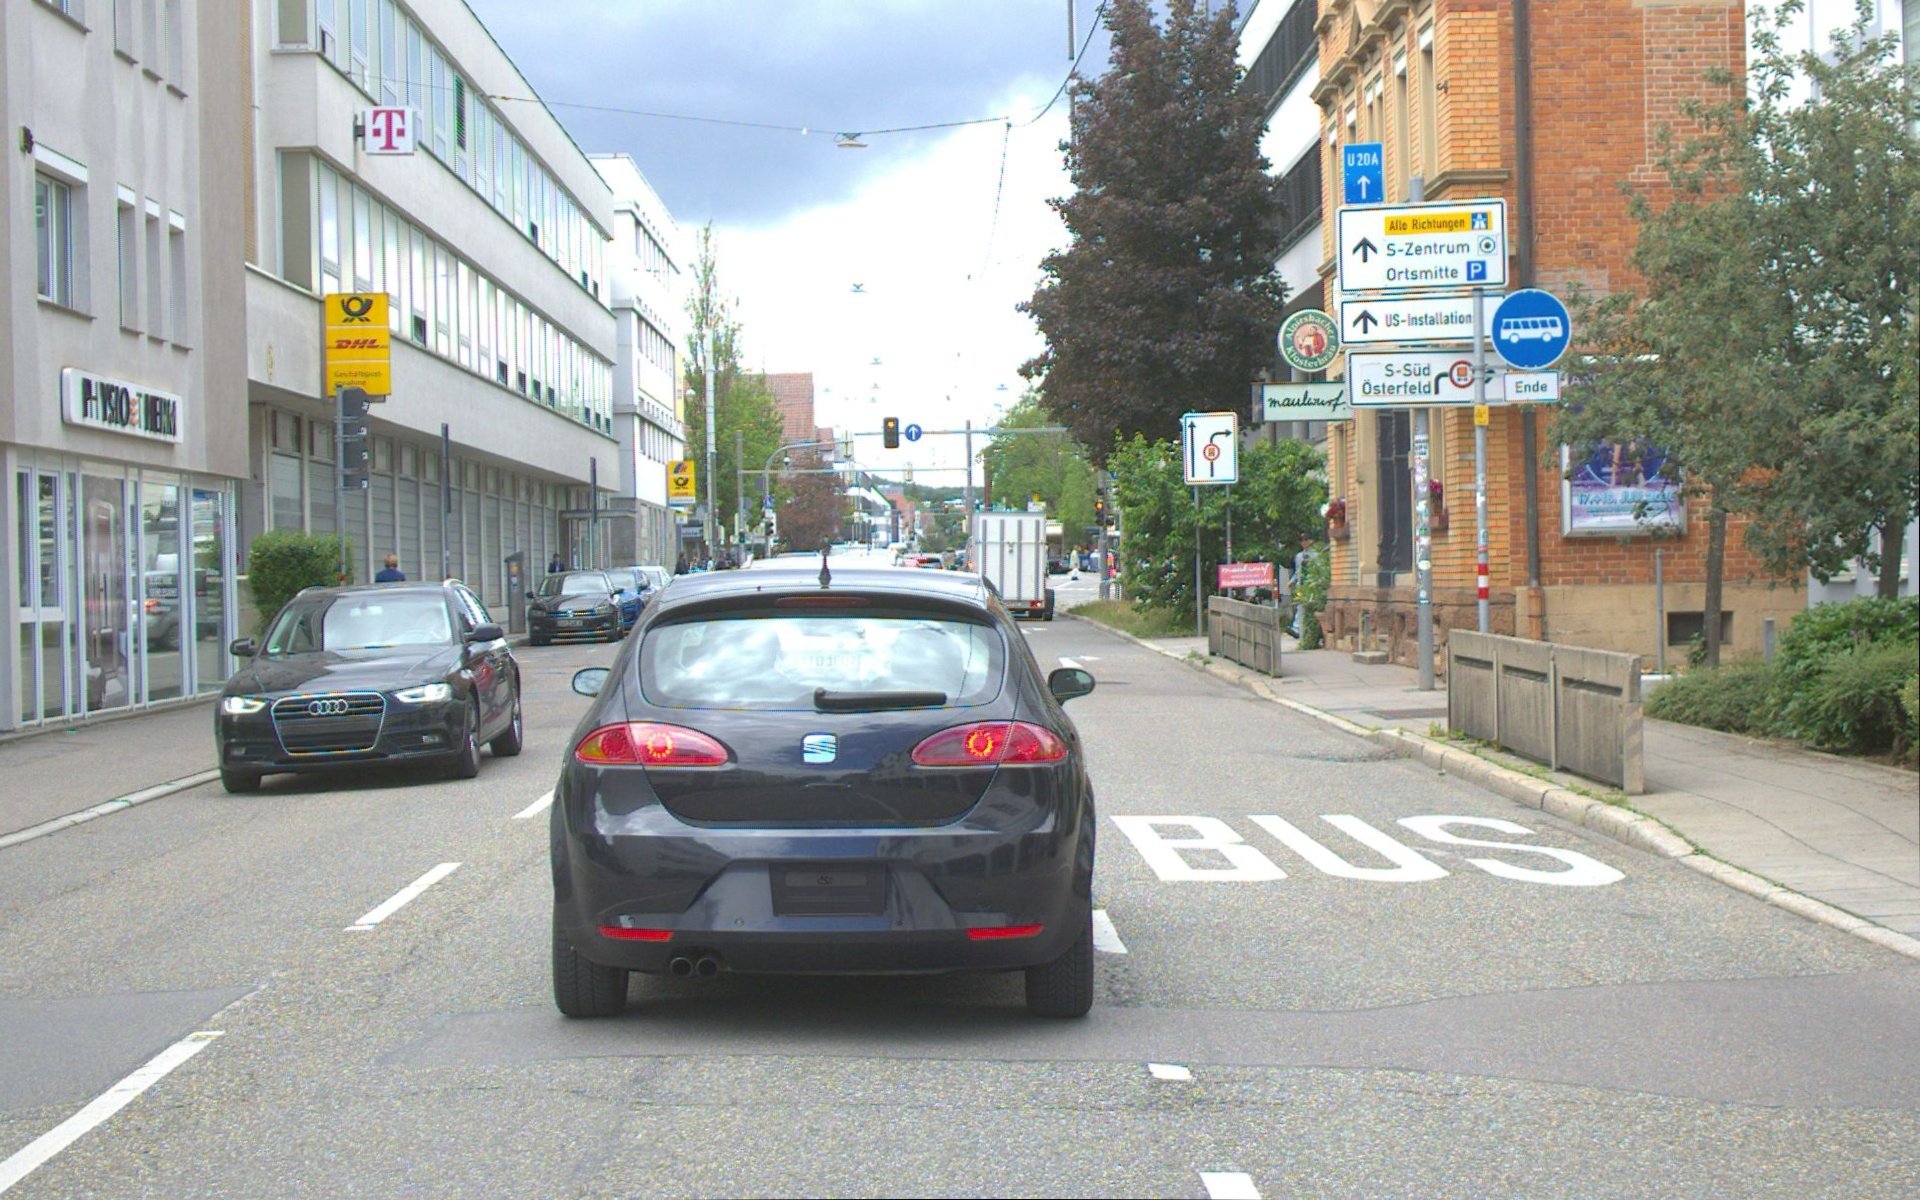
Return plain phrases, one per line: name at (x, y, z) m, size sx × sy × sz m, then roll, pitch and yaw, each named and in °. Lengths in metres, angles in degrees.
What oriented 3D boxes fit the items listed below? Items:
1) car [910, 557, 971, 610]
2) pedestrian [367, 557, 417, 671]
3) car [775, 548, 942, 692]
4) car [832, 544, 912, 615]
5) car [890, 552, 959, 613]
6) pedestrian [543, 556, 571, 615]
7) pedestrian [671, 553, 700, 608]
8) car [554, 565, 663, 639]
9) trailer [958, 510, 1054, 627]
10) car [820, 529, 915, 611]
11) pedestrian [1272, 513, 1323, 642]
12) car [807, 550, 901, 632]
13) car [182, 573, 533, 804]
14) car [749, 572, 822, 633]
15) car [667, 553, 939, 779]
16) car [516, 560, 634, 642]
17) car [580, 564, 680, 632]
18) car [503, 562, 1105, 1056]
car at (-0.616, -0.534, 105.444) m, size 1.803 × 1.596 × 3.738 m, roll 0°, pitch 1°, yaw -1°
pedestrian at (-8.904, 0.209, 53.869) m, size 0.642 × 1.763 × 0.810 m, roll -1°, pitch 1°, yaw -3°
car at (-1.157, 0.192, 39.674) m, size 1.803 × 1.547 × 3.738 m, roll -1°, pitch 1°, yaw -1°
car at (-2.013, -0.482, 78.924) m, size 1.803 × 1.596 × 3.738 m, roll 0°, pitch 1°, yaw -1°
car at (-0.982, -0.489, 92.859) m, size 1.803 × 1.596 × 3.738 m, roll 0°, pitch 1°, yaw -1°
pedestrian at (-11.076, -0.405, 94.482) m, size 0.656 × 1.617 × 0.681 m, roll -1°, pitch 1°, yaw 0°
pedestrian at (-9.414, -0.673, 118.048) m, size 0.918 × 1.862 × 0.783 m, roll -1°, pitch 1°, yaw -1°
car at (-7.583, 0.019, 74.539) m, size 1.993 × 1.511 × 4.175 m, roll -1°, pitch 1°, yaw -1°
trailer at (1.046, -0.747, 80.417) m, size 1.993 × 2.598 × 5.349 m, roll -1°, pitch 1°, yaw -1°
car at (-1.822, -0.594, 68.077) m, size 1.803 × 1.547 × 3.738 m, roll -1°, pitch 1°, yaw -1°
pedestrian at (5.320, -0.351, 54.217) m, size 0.693 × 2.007 × 0.677 m, roll -1°, pitch 1°, yaw -2°
car at (-2.096, -0.193, 68.397) m, size 1.803 × 1.596 × 3.738 m, roll 0°, pitch 1°, yaw -1°
car at (-4.401, 0.590, 25.730) m, size 1.878 × 1.446 × 4.214 m, roll -4°, pitch 1°, yaw -1°
car at (-5.252, 0.057, 103.950) m, size 1.993 × 1.733 × 4.554 m, roll -2°, pitch 1°, yaw -1°
car at (-1.102, 0.425, 25.069) m, size 1.803 × 1.487 × 3.738 m, roll -1°, pitch 1°, yaw -1°
car at (-7.659, -0.003, 68.703) m, size 1.912 × 1.511 × 4.175 m, roll -2°, pitch 1°, yaw -1°
car at (-7.678, -0.065, 80.243) m, size 1.993 × 1.511 × 4.175 m, roll -1°, pitch 1°, yaw -1°
car at (-0.485, 0.600, 12.156) m, size 1.765 × 1.428 × 3.828 m, roll -1°, pitch 1°, yaw -1°
